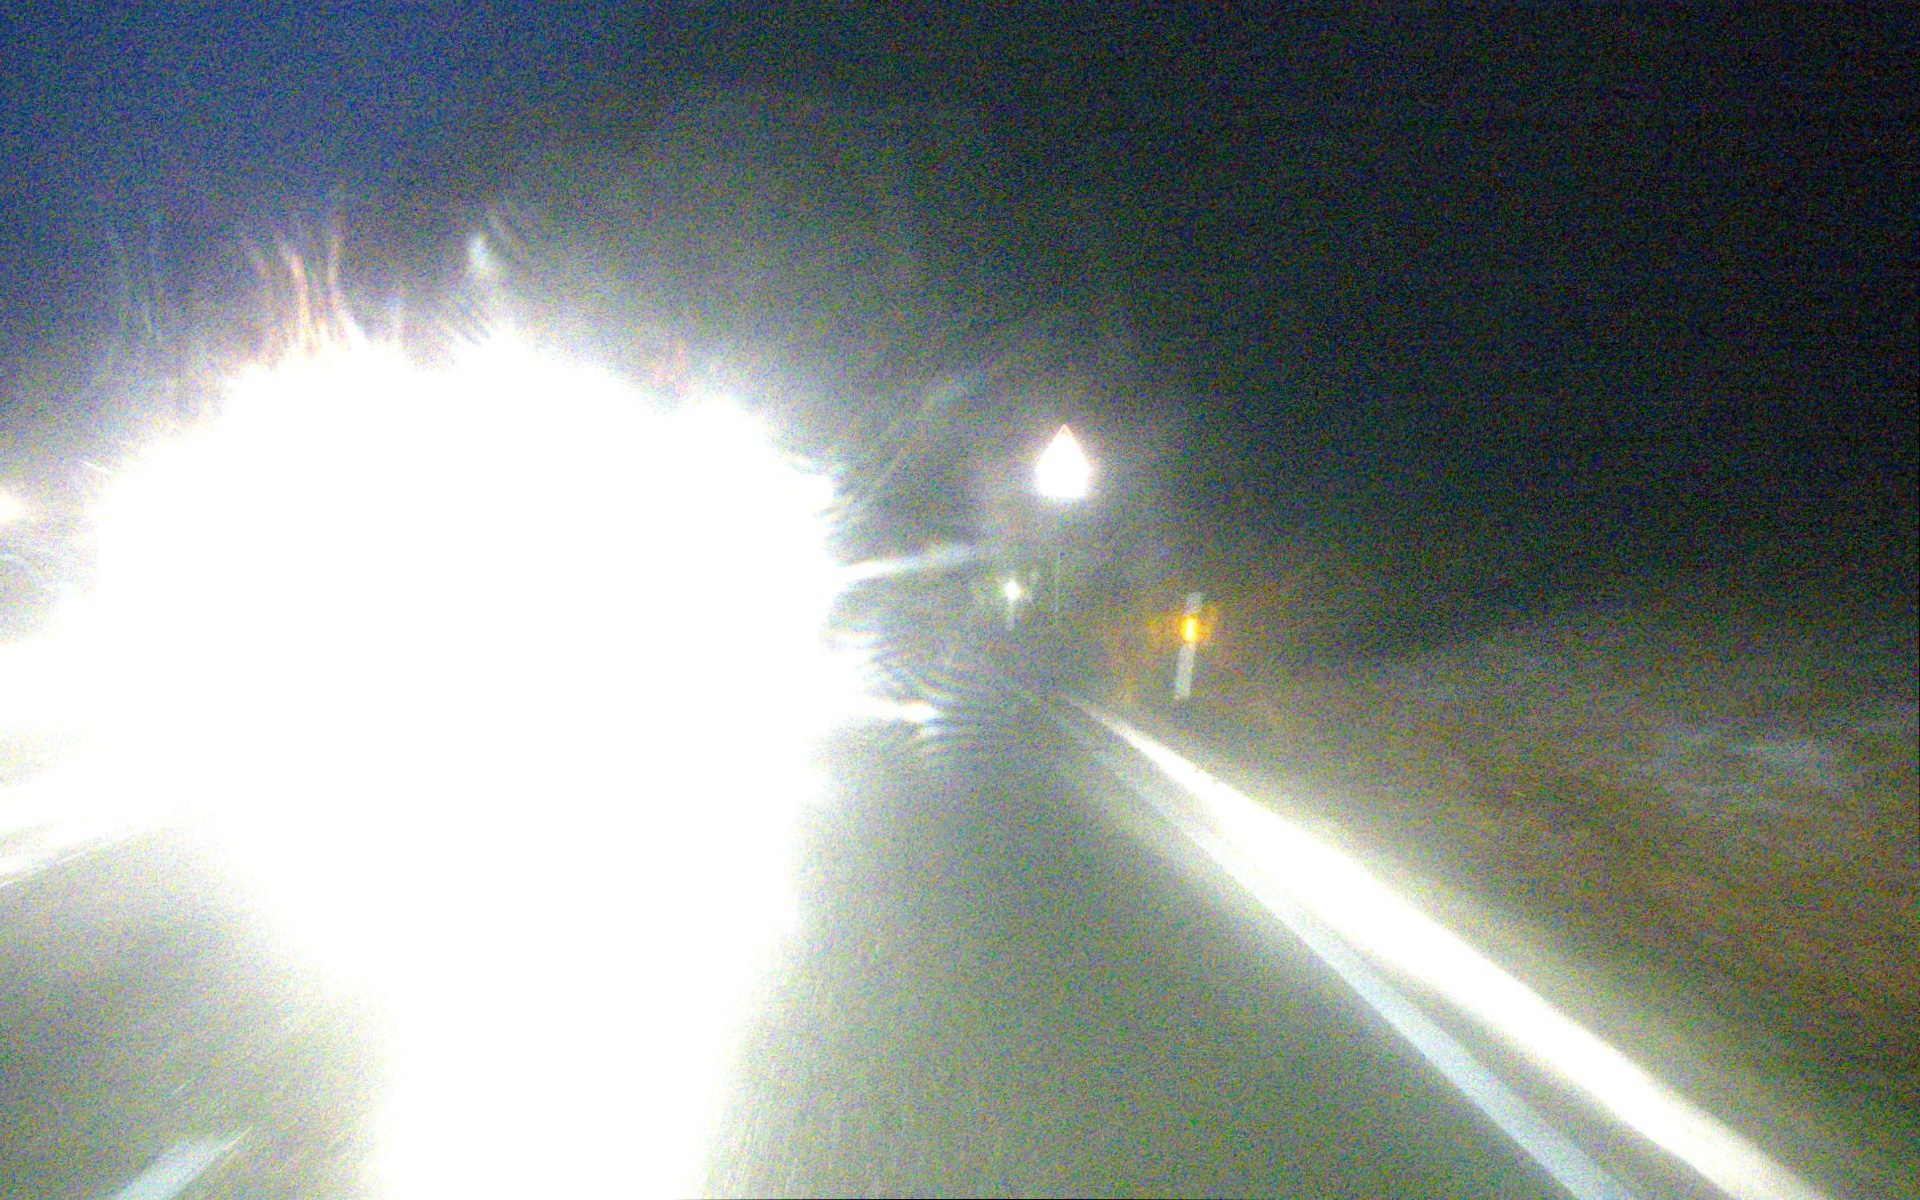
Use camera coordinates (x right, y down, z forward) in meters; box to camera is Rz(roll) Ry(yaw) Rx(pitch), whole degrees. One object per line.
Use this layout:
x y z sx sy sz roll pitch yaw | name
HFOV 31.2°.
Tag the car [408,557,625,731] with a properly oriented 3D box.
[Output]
-4.726 0.427 37.163 1.993 1.744 4.258 1 1 -3 | car
